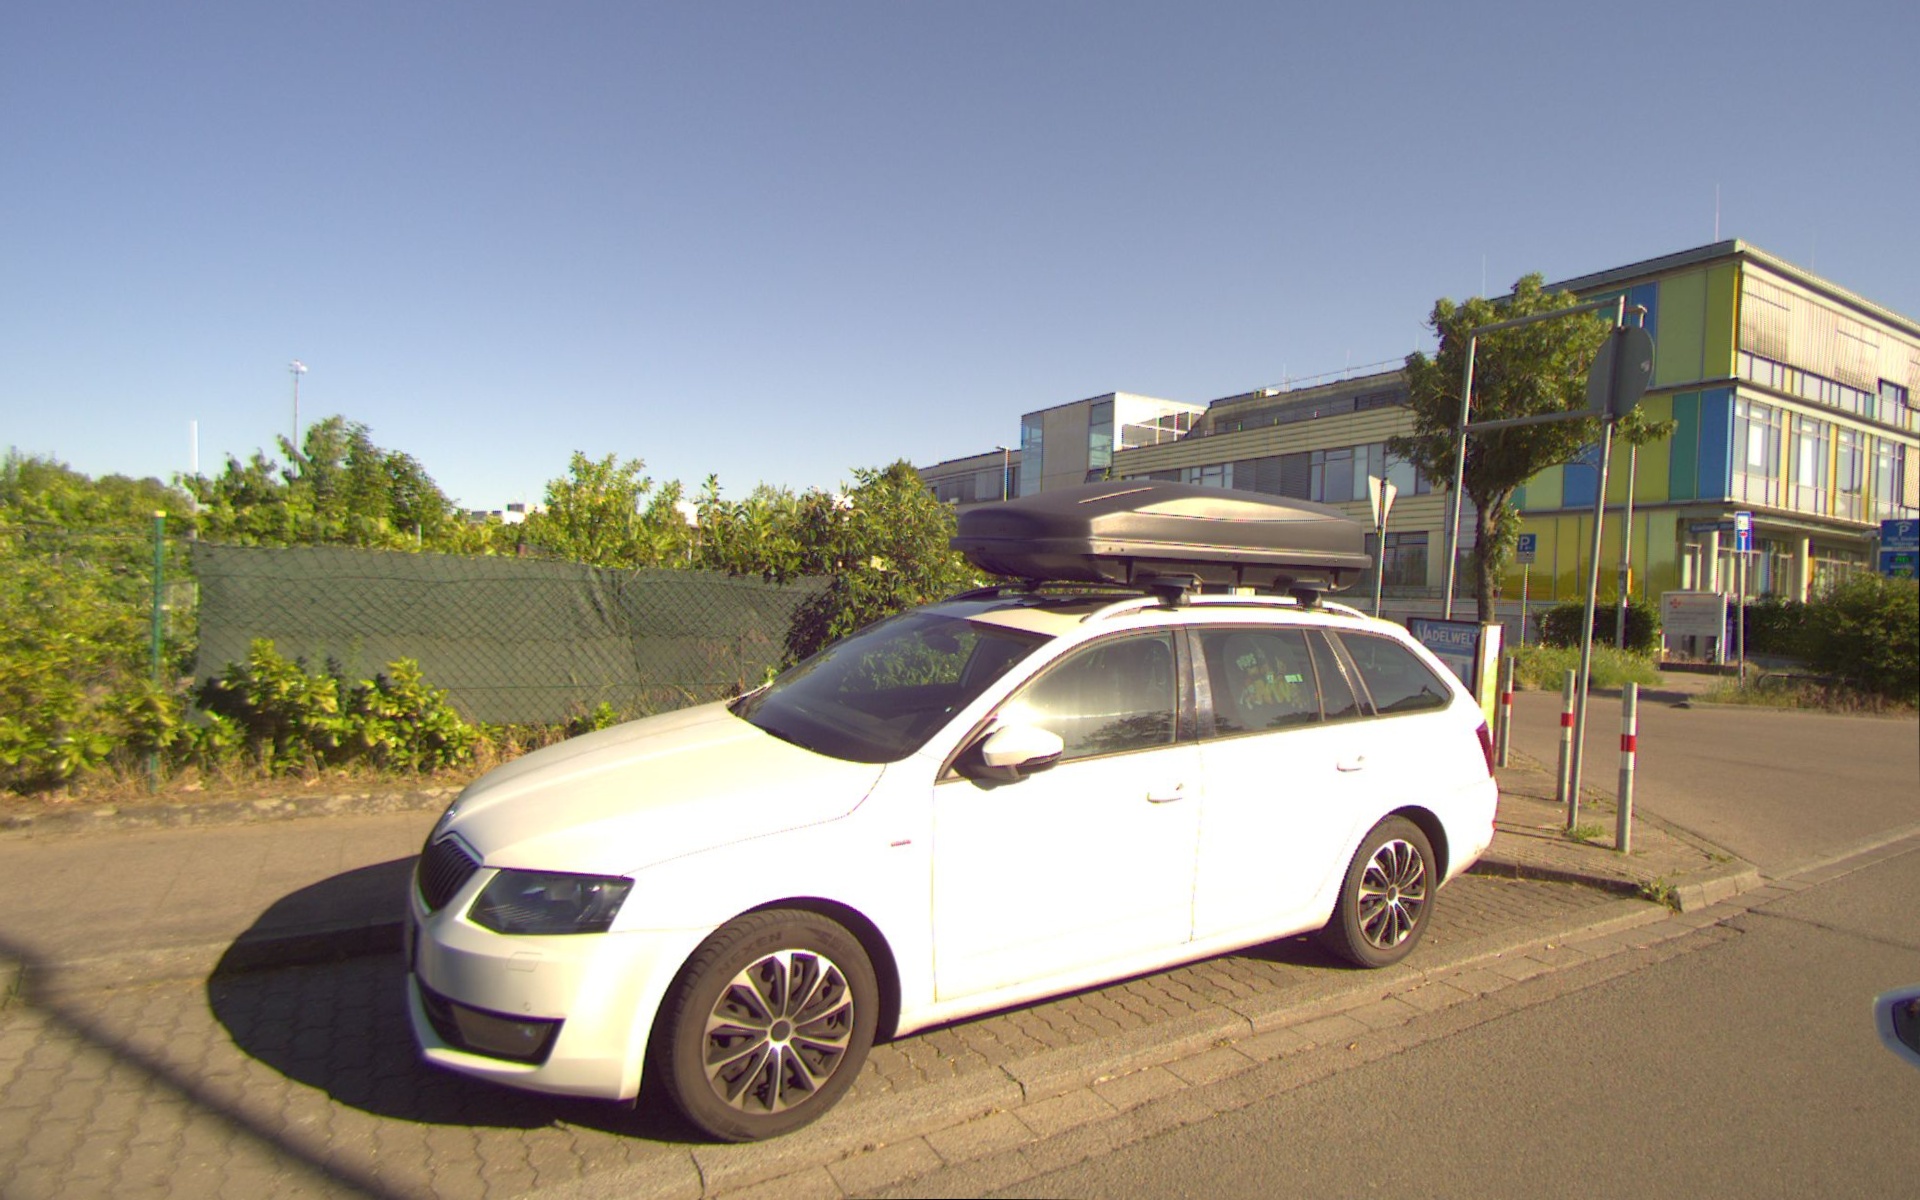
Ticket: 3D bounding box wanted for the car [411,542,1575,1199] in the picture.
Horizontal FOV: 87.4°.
[{"bbox_3d":[0.373,0.658,4.051,4.466,1.534,1.686,1,3,-31],"label":"car"}]
